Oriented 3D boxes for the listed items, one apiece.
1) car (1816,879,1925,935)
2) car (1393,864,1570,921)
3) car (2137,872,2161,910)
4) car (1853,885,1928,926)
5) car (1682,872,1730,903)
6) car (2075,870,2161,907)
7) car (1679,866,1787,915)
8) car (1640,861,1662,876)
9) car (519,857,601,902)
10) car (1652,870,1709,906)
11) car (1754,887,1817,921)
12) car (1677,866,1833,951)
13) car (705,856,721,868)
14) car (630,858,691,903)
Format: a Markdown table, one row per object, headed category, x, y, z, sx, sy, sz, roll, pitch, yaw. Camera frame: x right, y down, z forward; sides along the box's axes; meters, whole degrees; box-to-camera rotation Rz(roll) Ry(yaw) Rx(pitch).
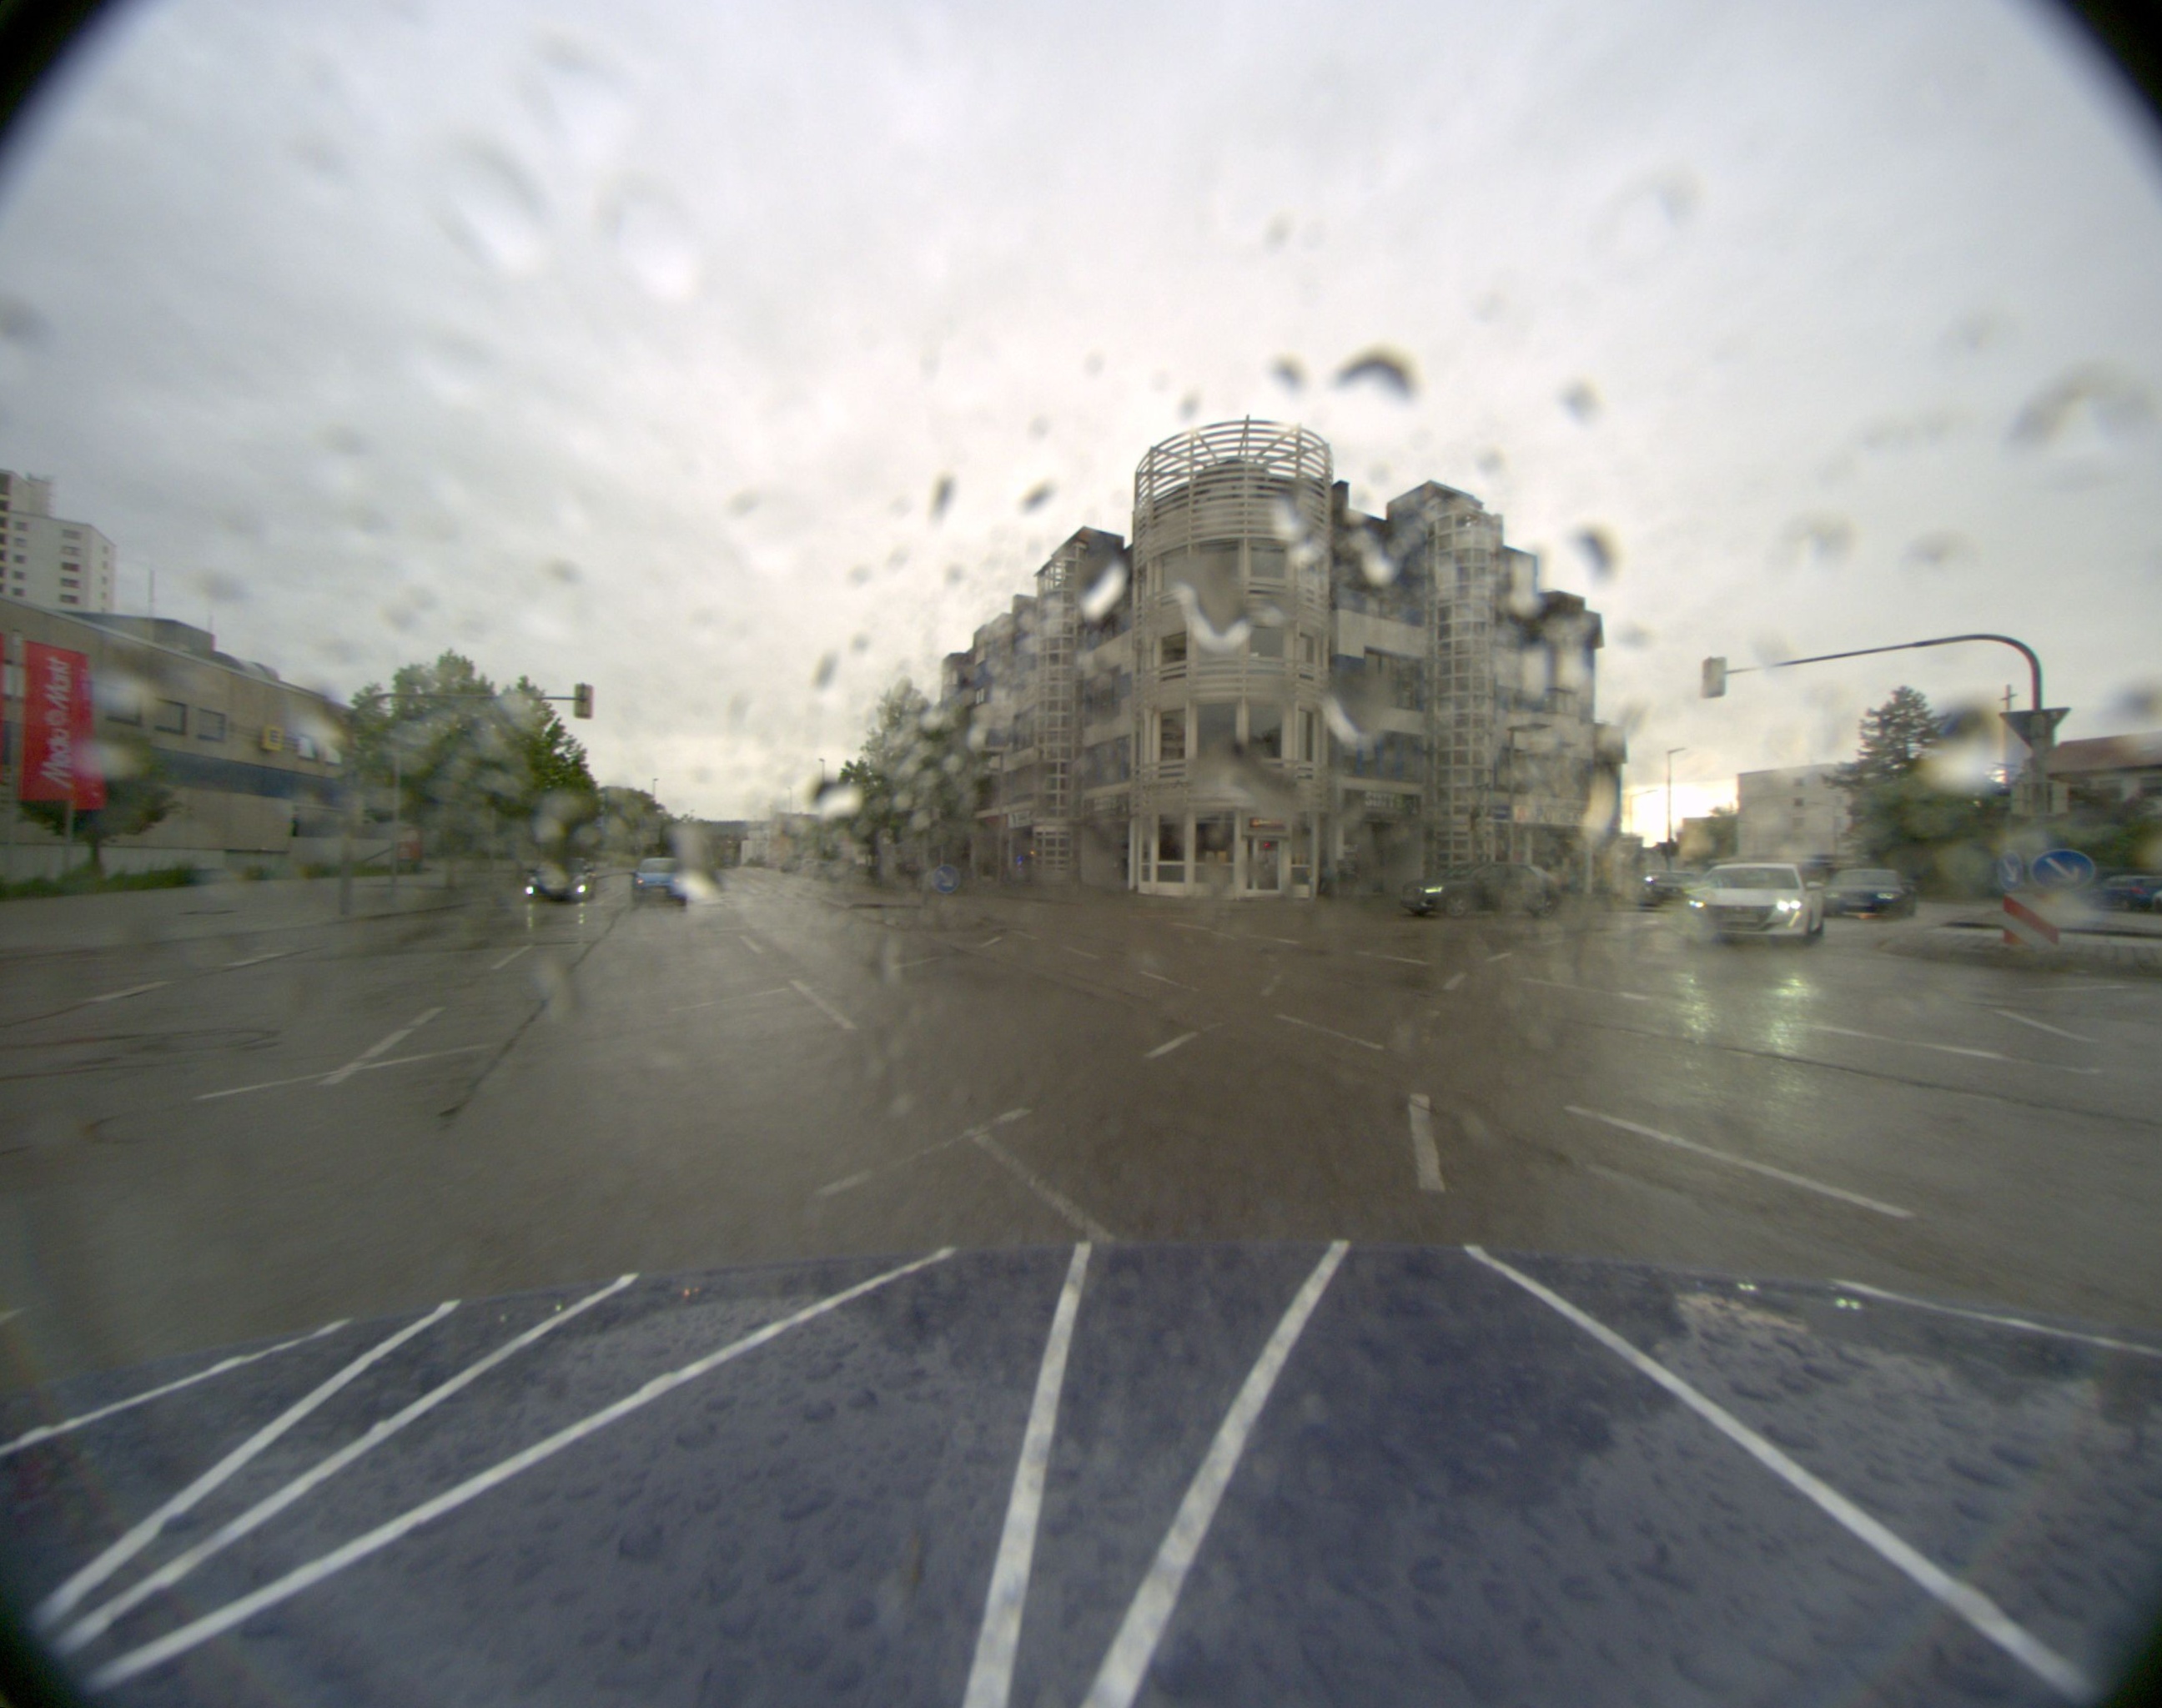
| category | x | y | z | sx | sy | sz | roll | pitch | yaw |
| --- | --- | --- | --- | --- | --- | --- | --- | --- | --- |
| car | 23.458 | 1.497 | 22.541 | 3.821 | 1.446 | 1.747 | 1 | 0 | -37 |
| car | 10.774 | 0.986 | 20.540 | 4.048 | 1.435 | 1.734 | 0 | -1 | -11 |
| car | 42.666 | 1.460 | 28.813 | 1.633 | 1.491 | 4.356 | 1 | -1 | 34 |
| car | 34.220 | 2.125 | 32.221 | 1.994 | 1.605 | 4.009 | -2 | -3 | 44 |
| car | 30.854 | 1.612 | 37.465 | 1.654 | 1.416 | 4.009 | 1 | -1 | 42 |
| car | 45.790 | 1.481 | 33.240 | 1.629 | 1.496 | 3.889 | 1 | -1 | 34 |
| car | 21.925 | 1.221 | 25.510 | 4.071 | 1.519 | 1.730 | 2 | -1 | -34 |
| car | 64.930 | 1.690 | 86.629 | 1.740 | 1.630 | 4.009 | 1 | 0 | 34 |
| car | -18.043 | 0.824 | 26.476 | 1.746 | 1.386 | 3.688 | 0 | 1 | -25 |
| car | 26.163 | 1.456 | 33.114 | 1.650 | 1.364 | 3.740 | 4 | 1 | 42 |
| car | 33.149 | 2.289 | 35.731 | 3.982 | 1.360 | 1.797 | 1 | 0 | -42 |
| car | 12.919 | 0.979 | 14.492 | 3.905 | 1.401 | 1.739 | 2 | -3 | -41 |
| car | -54.857 | 1.238 | 113.229 | 2.002 | 1.765 | 3.993 | 0 | -2 | -23 |
| car | -14.873 | 0.887 | 27.025 | 1.681 | 1.389 | 3.846 | 0 | 1 | -26 |
